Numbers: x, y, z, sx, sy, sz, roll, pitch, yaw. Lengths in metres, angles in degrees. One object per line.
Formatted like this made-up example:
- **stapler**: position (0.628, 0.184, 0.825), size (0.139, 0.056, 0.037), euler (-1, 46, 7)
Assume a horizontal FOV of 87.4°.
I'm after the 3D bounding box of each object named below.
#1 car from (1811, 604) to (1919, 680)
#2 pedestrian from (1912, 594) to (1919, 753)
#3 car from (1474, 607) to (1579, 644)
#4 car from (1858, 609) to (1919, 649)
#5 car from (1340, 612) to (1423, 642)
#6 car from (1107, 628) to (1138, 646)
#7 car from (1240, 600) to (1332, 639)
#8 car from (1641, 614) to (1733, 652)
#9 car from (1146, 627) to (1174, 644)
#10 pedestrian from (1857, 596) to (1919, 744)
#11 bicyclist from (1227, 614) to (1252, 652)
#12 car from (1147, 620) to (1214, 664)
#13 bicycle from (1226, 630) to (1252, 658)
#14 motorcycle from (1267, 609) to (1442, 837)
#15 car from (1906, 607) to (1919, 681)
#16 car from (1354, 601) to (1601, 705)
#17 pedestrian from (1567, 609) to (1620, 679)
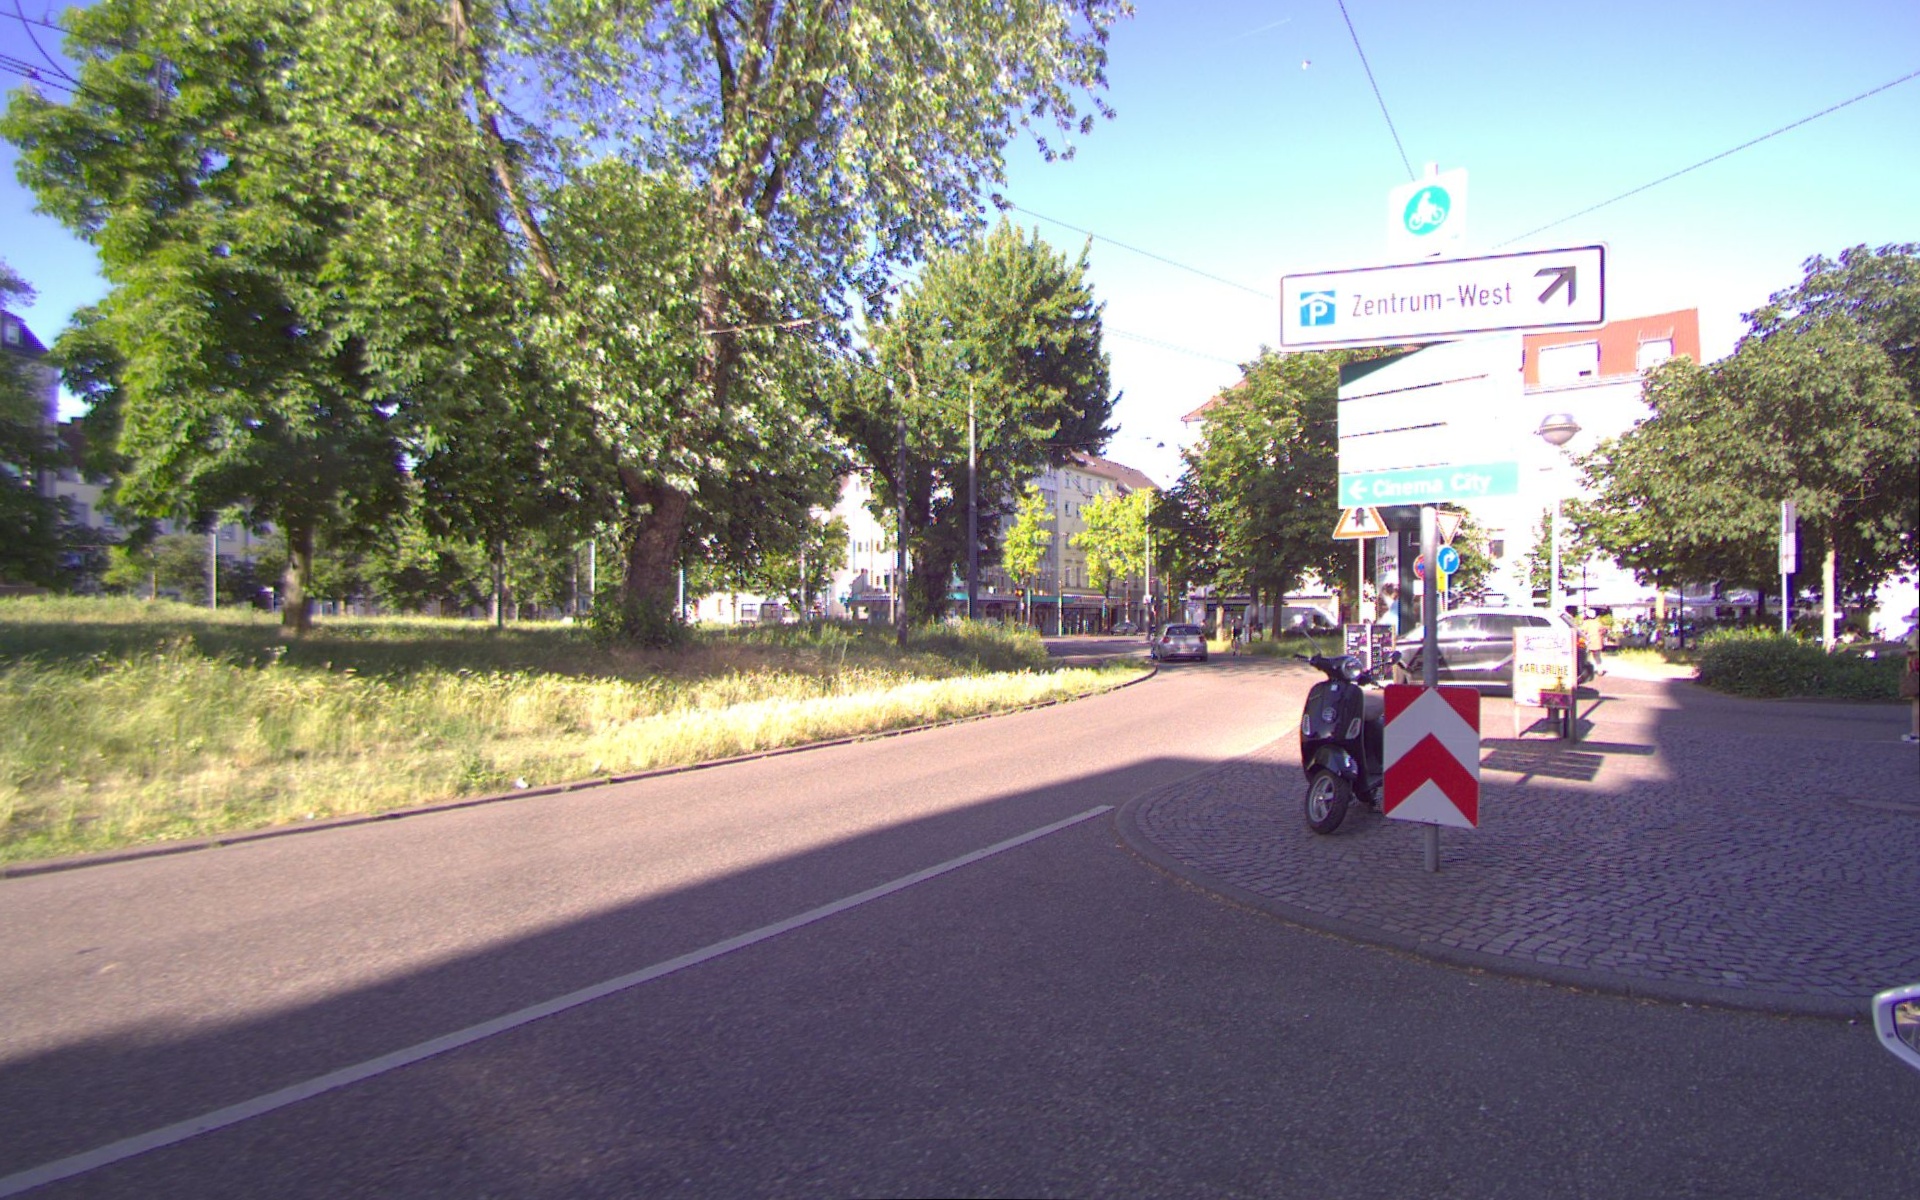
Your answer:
- **car**: position (20.402, 0.889, 20.719), size (3.924, 1.489, 1.873), euler (2, 0, 25)
- **pedestrian**: position (10.429, 0.784, 10.412), size (0.626, 1.694, 0.691), euler (1, 0, 30)
- **car**: position (34.746, 1.562, 61.707), size (5.498, 2.040, 1.813), euler (2, 0, 33)
- **car**: position (46.366, 1.438, 47.729), size (5.190, 1.824, 2.158), euler (2, 0, 33)
- **car**: position (28.050, 1.764, 66.896), size (4.795, 1.828, 1.902), euler (2, 0, 38)
- **car**: position (17.913, 4.026, 110.814), size (1.965, 1.807, 3.990), euler (2, 1, 32)
- **car**: position (21.158, 1.247, 65.242), size (5.266, 2.345, 1.993), euler (2, 0, 36)
- **car**: position (38.369, 1.719, 53.073), size (3.856, 1.794, 1.974), euler (2, 0, 36)
- **car**: position (23.762, 4.152, 119.259), size (1.965, 1.807, 3.990), euler (2, 1, 32)
- **pedestrian**: position (11.479, 0.830, 12.122), size (0.656, 1.722, 0.805), euler (1, 0, 17)
- **bicyclist**: position (11.687, 1.362, 42.064), size (0.913, 1.527, 0.826), euler (2, 0, 11)
- **car**: position (8.315, 1.546, 38.148), size (1.960, 1.442, 4.199), euler (2, 0, 5)
- **bicycle**: position (11.662, 1.815, 42.076), size (0.796, 1.083, 2.584), euler (2, 0, 11)
- **motorcycle**: position (2.853, 0.783, 7.151), size (0.736, 1.392, 1.755), euler (2, 0, 35)
- **car**: position (23.803, 1.042, 22.362), size (3.944, 1.690, 1.988), euler (1, 1, 43)
- **car**: position (9.255, 0.905, 18.159), size (3.800, 1.704, 1.809), euler (0, -2, 28)
- **pedestrian**: position (14.655, 1.001, 23.261), size (0.754, 1.542, 0.959), euler (2, 0, 14)
